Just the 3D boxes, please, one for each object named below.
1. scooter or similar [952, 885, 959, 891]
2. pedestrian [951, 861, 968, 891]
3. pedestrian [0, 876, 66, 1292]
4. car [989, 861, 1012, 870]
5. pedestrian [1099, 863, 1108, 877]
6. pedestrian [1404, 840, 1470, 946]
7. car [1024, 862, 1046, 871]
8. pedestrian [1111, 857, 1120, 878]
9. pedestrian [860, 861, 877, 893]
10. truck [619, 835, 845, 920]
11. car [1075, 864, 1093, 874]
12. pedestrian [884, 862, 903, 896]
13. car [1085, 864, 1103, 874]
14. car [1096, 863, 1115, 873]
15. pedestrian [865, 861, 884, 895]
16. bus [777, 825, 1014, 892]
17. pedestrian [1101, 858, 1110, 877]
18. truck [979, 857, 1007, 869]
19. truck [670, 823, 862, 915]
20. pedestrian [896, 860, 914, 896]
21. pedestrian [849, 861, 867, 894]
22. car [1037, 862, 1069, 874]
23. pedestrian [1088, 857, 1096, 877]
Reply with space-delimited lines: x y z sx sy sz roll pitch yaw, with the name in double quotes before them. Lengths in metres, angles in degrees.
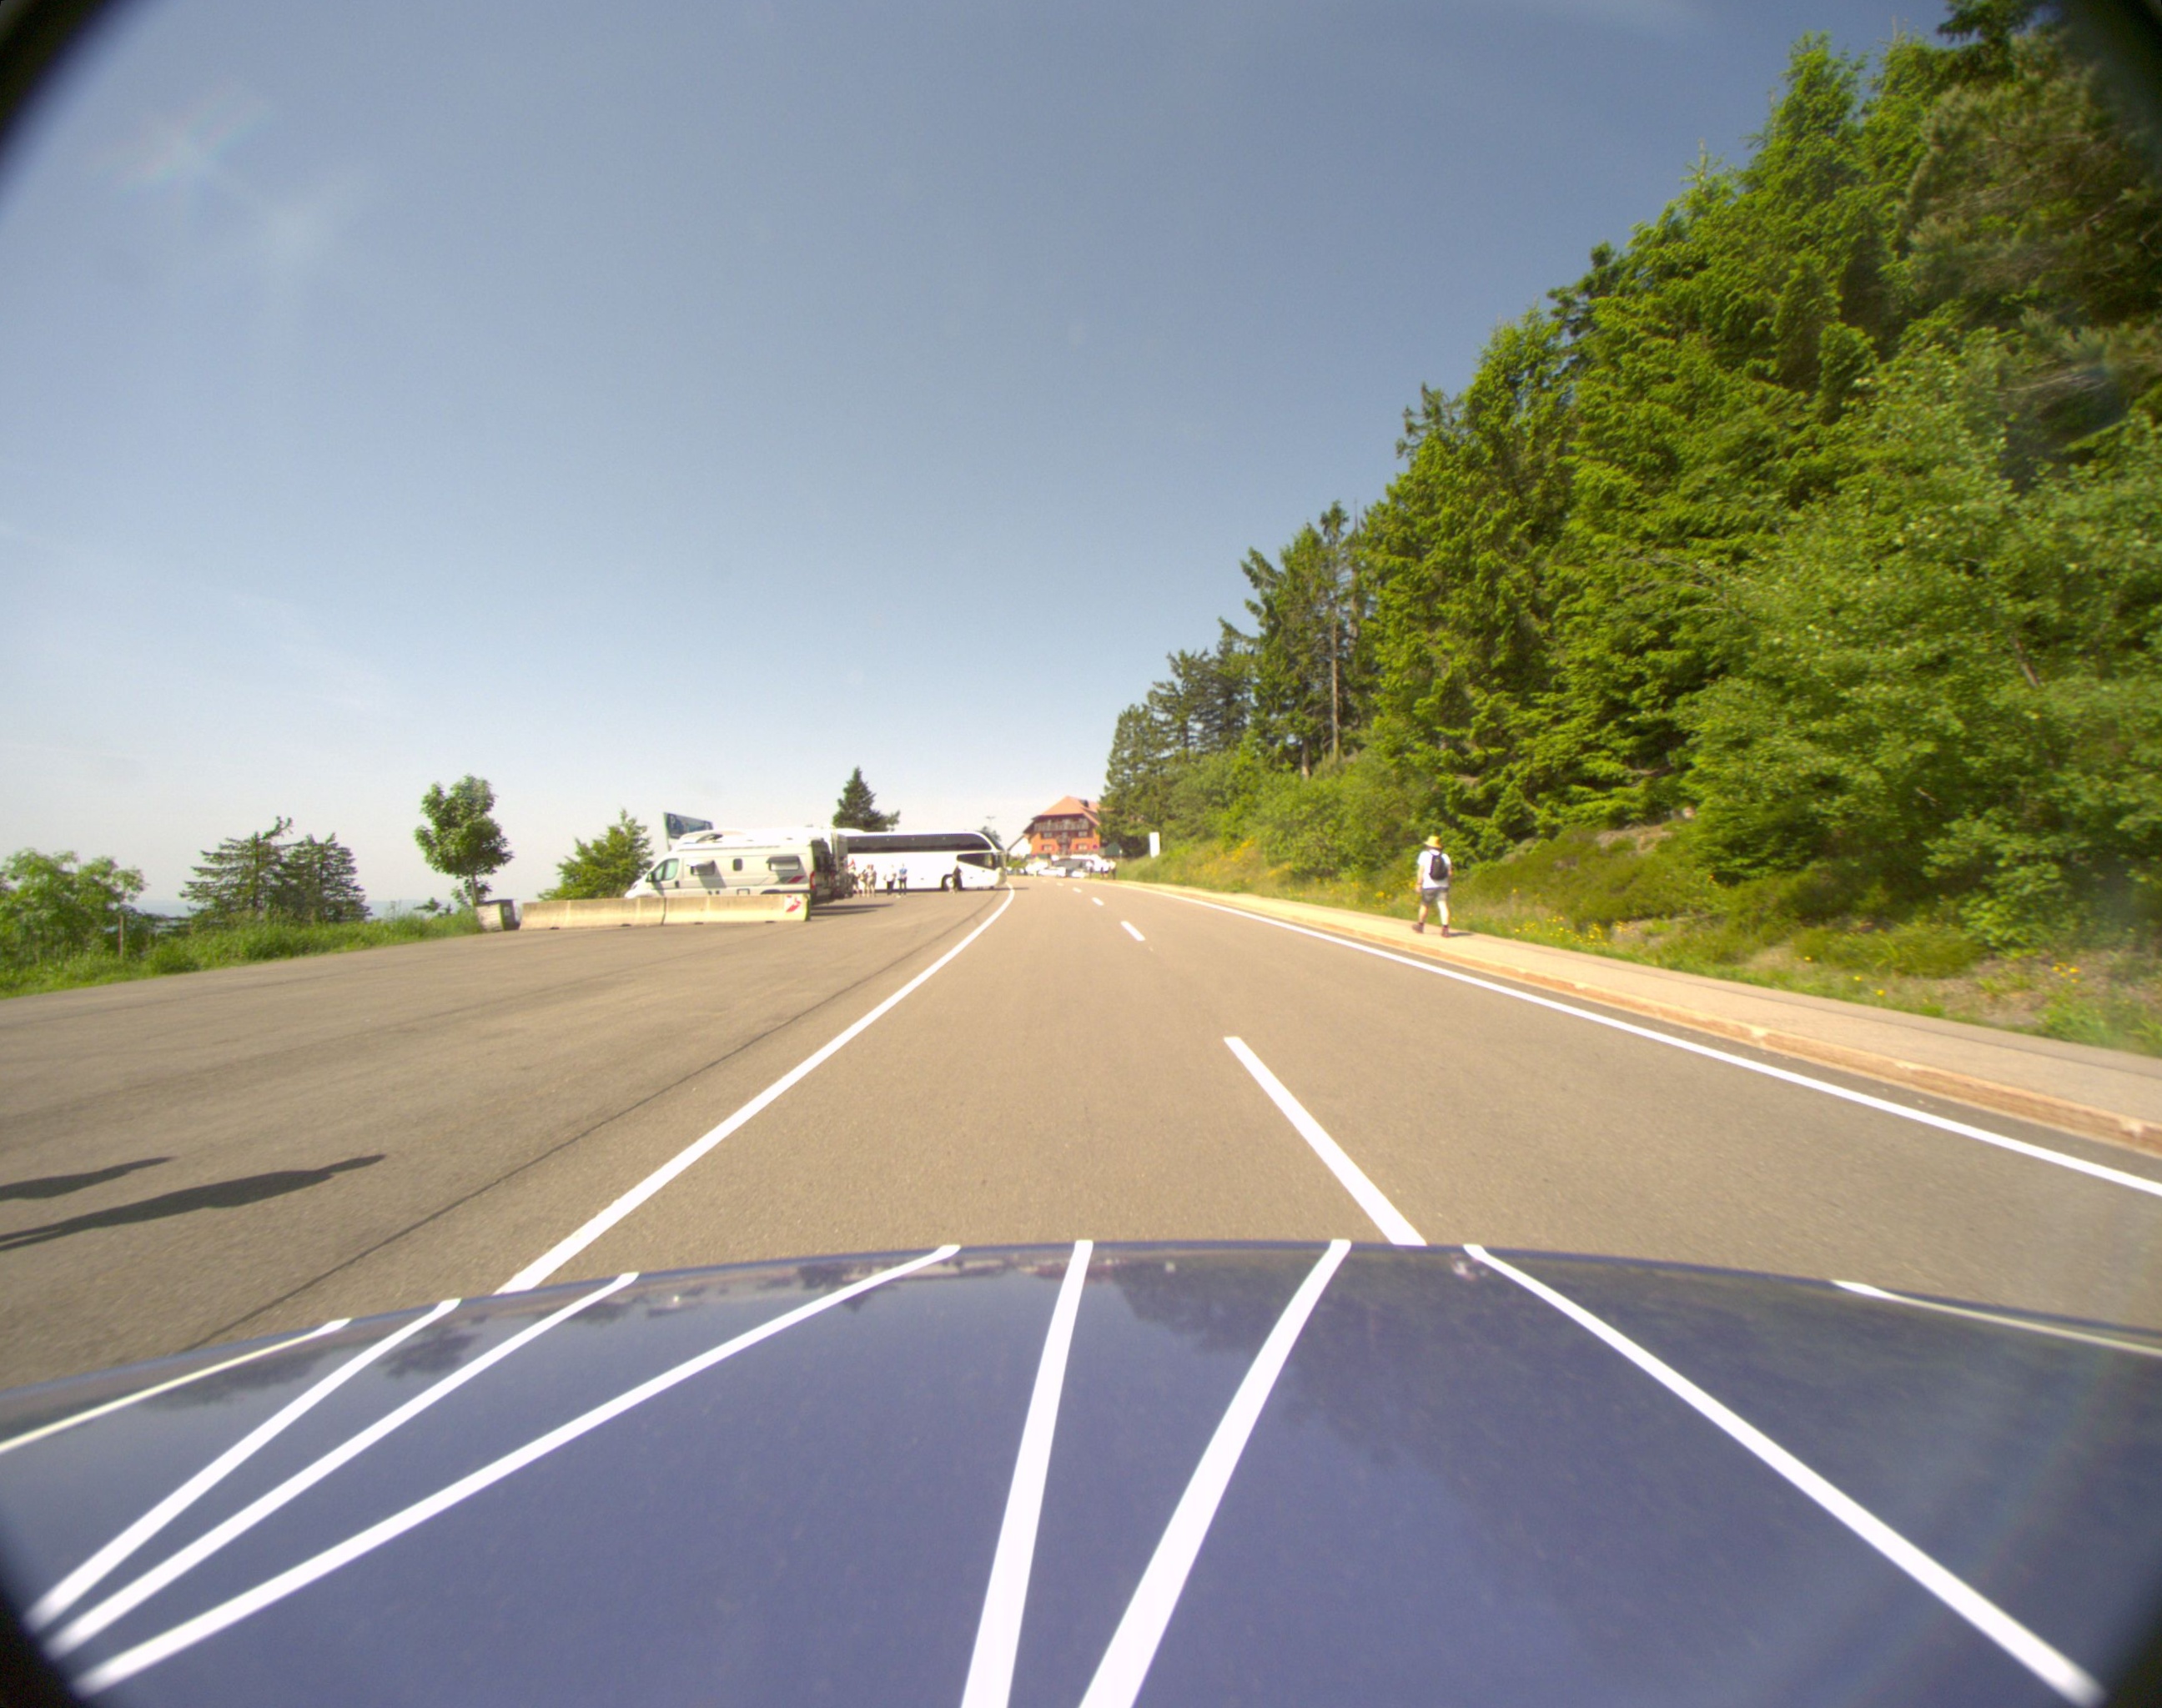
"scooter or similar" -6.768 1.812 40.827 0.285 0.309 0.327 -1 0 7
"pedestrian" -6.429 1.156 40.234 0.631 1.557 0.628 -1 0 12
"pedestrian" -4.991 0.980 3.086 0.755 1.750 0.776 -1 0 12
"car" -18.681 2.631 175.244 5.255 1.894 1.999 0 -1 -7
"pedestrian" 1.754 1.268 59.588 0.570 1.095 0.744 0 -1 -5
"pedestrian" 6.073 0.645 12.991 0.684 1.736 0.825 -1 0 -5
"car" -7.727 2.103 127.497 3.325 1.583 1.720 -1 -1 31
"pedestrian" 2.803 1.095 61.680 0.578 1.633 0.894 0 -1 -5
"pedestrian" -10.989 1.182 39.331 0.631 1.669 0.628 -1 0 12
"truck" -11.294 0.738 24.982 6.277 2.576 2.340 -1 1 -1
"car" 0.496 2.387 122.957 1.710 1.543 3.141 -1 0 28
"pedestrian" -9.347 1.231 37.843 0.630 1.641 0.629 -1 0 22
"car" 2.131 2.404 122.261 1.637 1.425 3.323 -3 -3 27
"car" 3.736 2.133 114.794 1.714 1.425 3.322 0 -1 25
"pedestrian" -10.359 1.195 38.114 0.631 1.688 0.628 -1 0 12
"bus" -10.453 0.240 43.720 12.879 3.556 2.839 -1 0 -1
"pedestrian" 1.968 1.085 61.102 0.582 1.528 0.879 0 -1 -8
"truck" -21.100 2.105 183.153 2.863 2.813 8.775 -1 0 21
"truck" -11.566 0.523 28.374 6.081 3.177 2.531 -1 0 -4
"pedestrian" -8.671 1.165 37.432 0.631 1.747 0.628 -1 0 12
"pedestrian" -11.250 1.180 38.351 0.631 1.687 0.628 -1 0 12
"car" -3.875 1.922 103.957 3.954 1.578 1.793 -1 -1 25
"pedestrian" 1.001 1.139 67.677 0.581 1.731 0.686 0 0 -15
